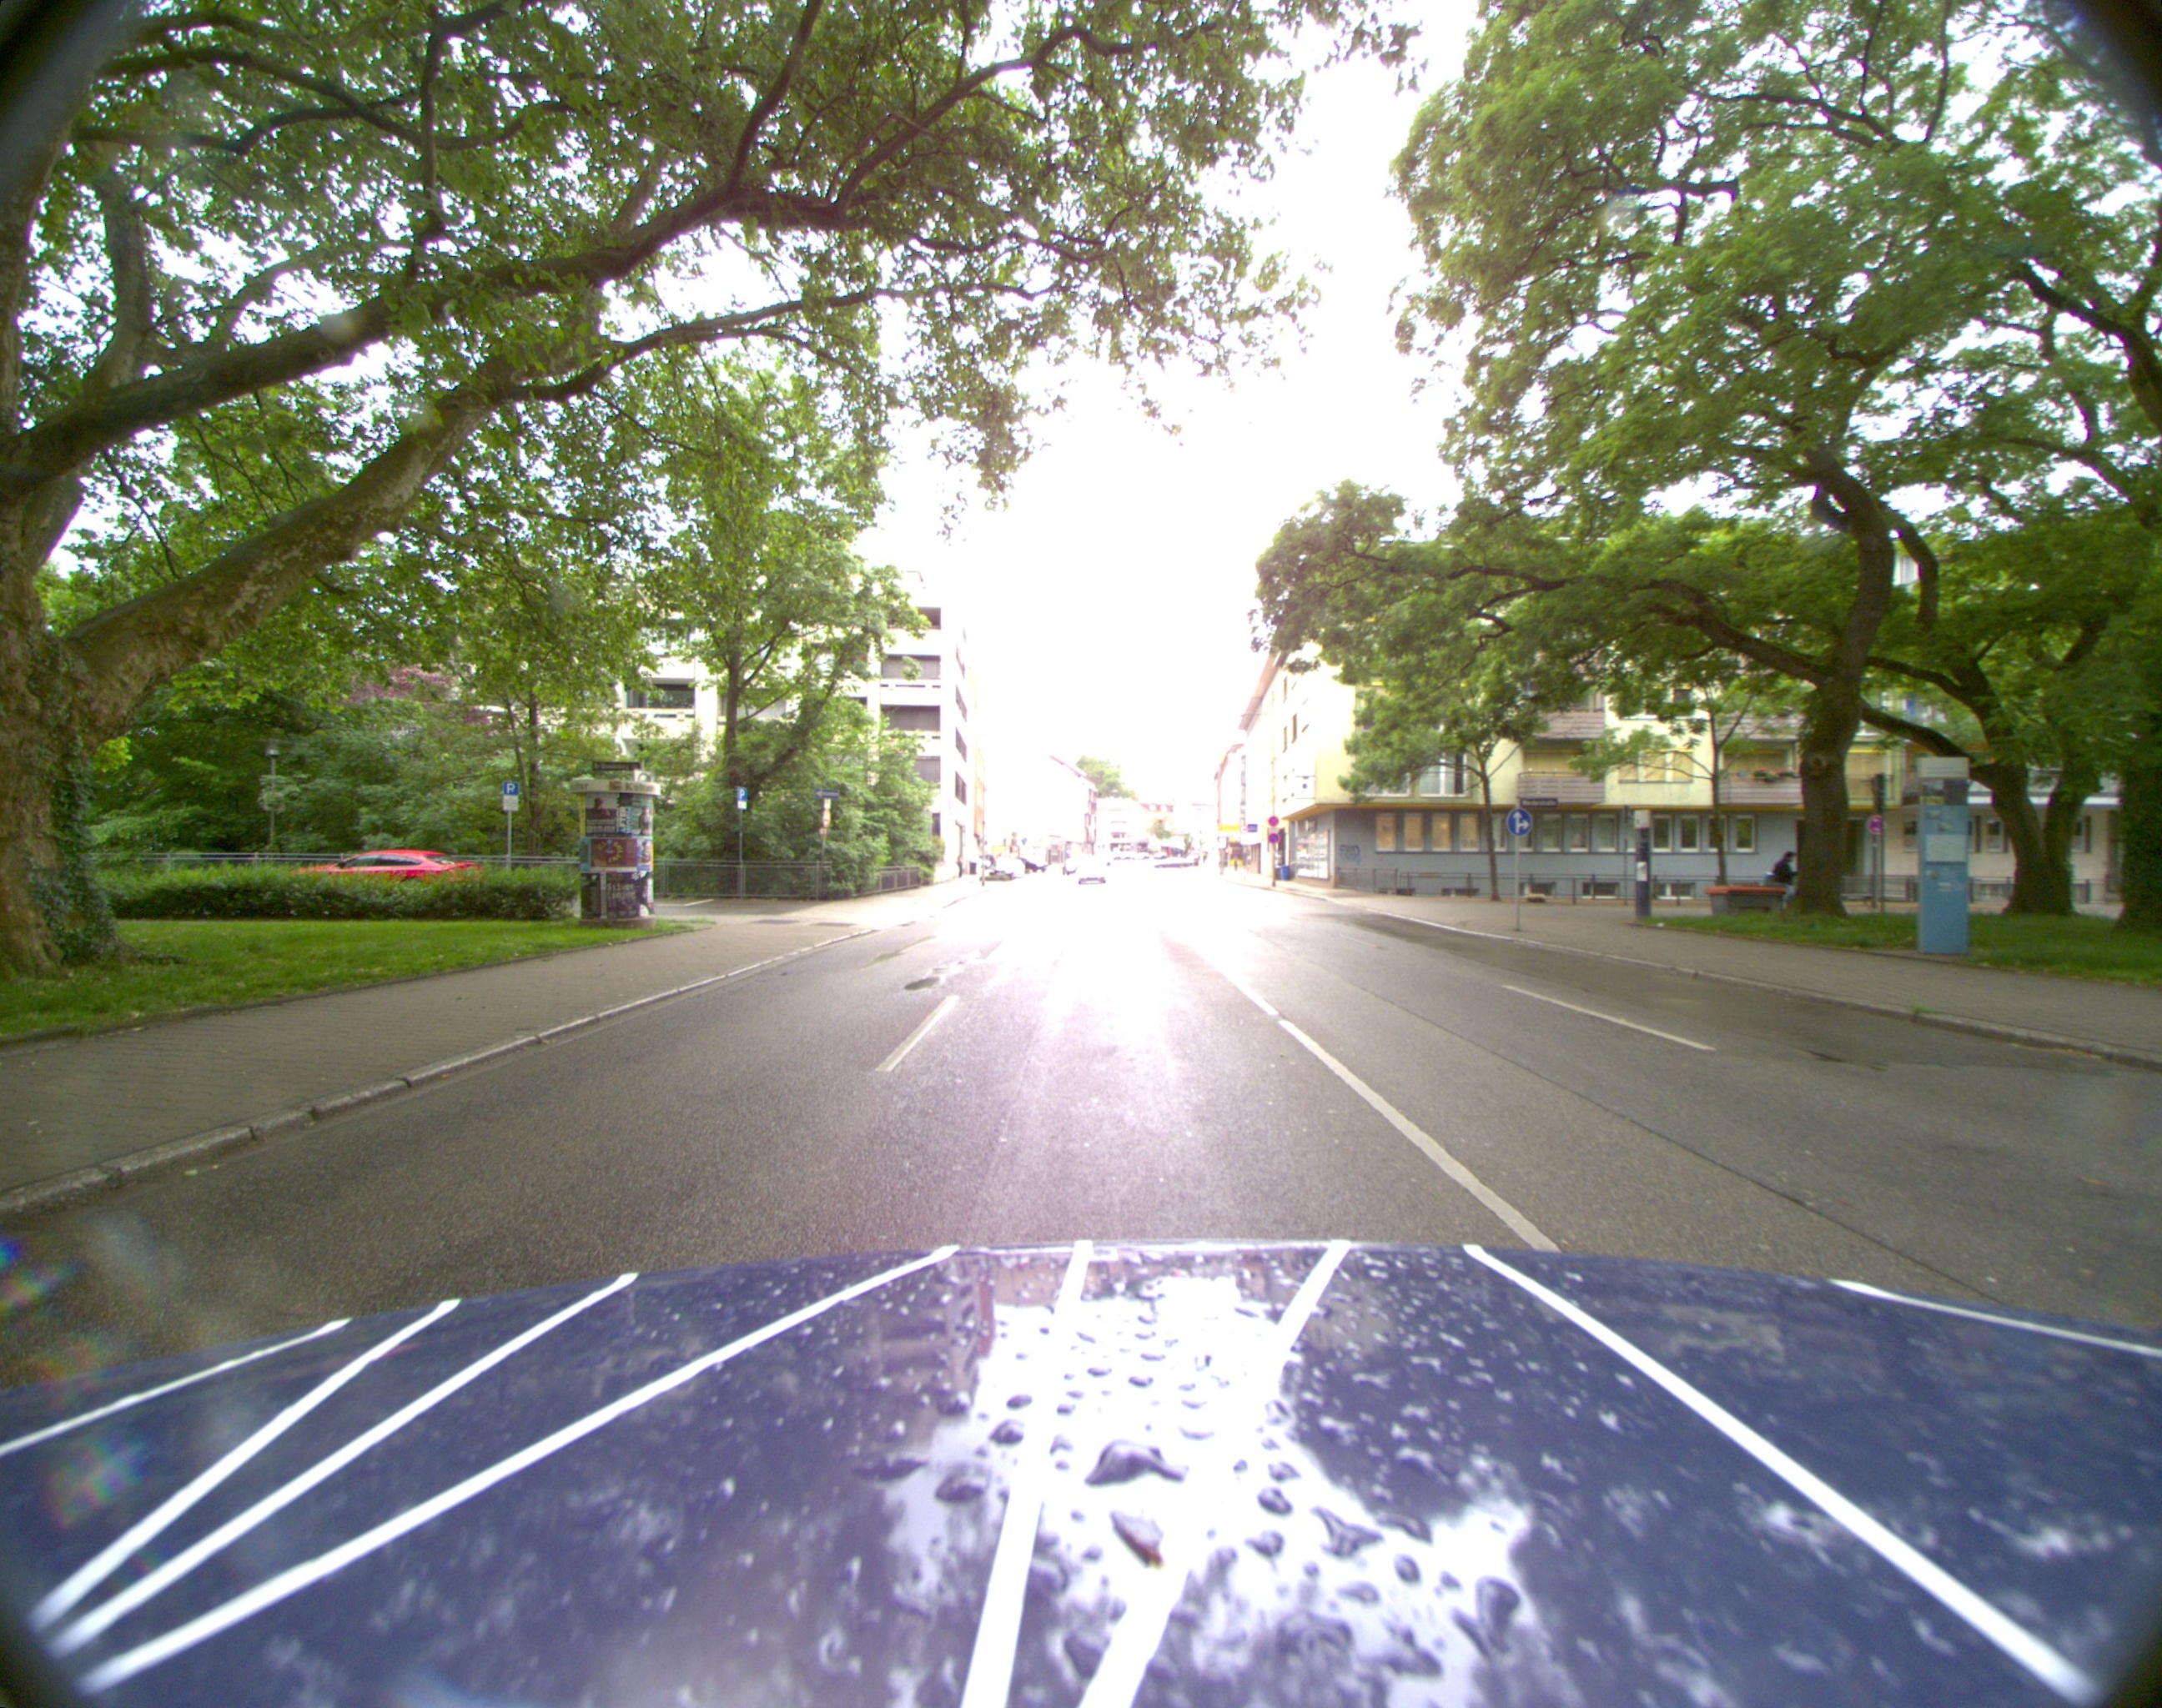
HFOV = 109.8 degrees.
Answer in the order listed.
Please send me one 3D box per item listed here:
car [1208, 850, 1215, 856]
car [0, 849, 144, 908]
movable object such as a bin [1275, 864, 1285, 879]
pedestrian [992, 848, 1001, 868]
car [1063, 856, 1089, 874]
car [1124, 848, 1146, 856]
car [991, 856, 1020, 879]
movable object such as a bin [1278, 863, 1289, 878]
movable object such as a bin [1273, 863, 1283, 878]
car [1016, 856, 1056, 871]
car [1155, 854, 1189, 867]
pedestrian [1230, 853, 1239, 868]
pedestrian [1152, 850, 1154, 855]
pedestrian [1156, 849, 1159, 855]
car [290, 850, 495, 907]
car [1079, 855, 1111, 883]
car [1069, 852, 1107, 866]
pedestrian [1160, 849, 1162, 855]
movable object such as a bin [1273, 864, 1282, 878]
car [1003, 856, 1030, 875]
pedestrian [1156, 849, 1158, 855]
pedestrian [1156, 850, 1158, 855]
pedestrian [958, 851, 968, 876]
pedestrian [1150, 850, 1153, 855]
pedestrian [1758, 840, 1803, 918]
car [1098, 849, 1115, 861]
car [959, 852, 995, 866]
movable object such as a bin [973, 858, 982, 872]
[{"bbox_3d":[33.265,-0.325,193.397,1.591,1.518,3.491,0,0,14],"label":"car"},{"bbox_3d":[-29.537,0.671,21.411,3.932,1.561,1.735,1,0,-4],"label":"car"},{"bbox_3d":[12.762,1.108,48.807,0.529,0.890,0.435,-4,0,8],"label":"movable object such as a bin"},{"bbox_3d":[-9.268,0.464,83.087,0.806,2.140,0.737,0,1,-23],"label":"pedestrian"},{"bbox_3d":[-0.512,0.975,69.196,1.758,1.559,3.997,-2,0,-9],"label":"car"},{"bbox_3d":[11.961,-0.389,168.071,4.556,1.754,2.050,1,0,39],"label":"car"},{"bbox_3d":[-5.316,0.929,53.519,1.706,1.549,3.804,1,0,-1],"label":"car"},{"bbox_3d":[12.859,1.053,48.292,0.529,0.955,0.435,-4,0,8],"label":"movable object such as a bin"},{"bbox_3d":[12.794,1.091,49.290,0.529,0.922,0.426,-4,0,8],"label":"movable object such as a bin"},{"bbox_3d":[-4.987,1.013,83.763,4.148,1.576,1.805,1,0,33],"label":"car"},{"bbox_3d":[11.606,0.776,96.802,4.196,1.596,1.481,1,0,1],"label":"car"},{"bbox_3d":[16.735,0.692,82.866,0.785,1.578,0.674,-2,0,21],"label":"pedestrian"},{"bbox_3d":[17.479,-0.432,184.656,0.379,1.283,0.401,0,1,38],"label":"pedestrian"},{"bbox_3d":[18.048,-0.424,178.945,0.379,1.283,0.401,1,1,40],"label":"pedestrian"},{"bbox_3d":[-19.558,0.676,21.760,3.999,1.473,1.875,1,1,-5],"label":"car"},{"bbox_3d":[0.825,0.851,44.747,1.756,1.559,4.000,-2,0,1],"label":"car"},{"bbox_3d":[0.877,0.570,93.718,4.687,1.559,1.758,-2,0,2],"label":"car"},{"bbox_3d":[18.897,-0.439,178.860,0.379,1.283,0.401,1,1,39],"label":"pedestrian"},{"bbox_3d":[12.907,1.109,49.893,0.465,0.922,0.428,-4,0,8],"label":"movable object such as a bin"},{"bbox_3d":[-5.121,0.889,60.483,1.835,1.412,4.569,1,0,-1],"label":"car"},{"bbox_3d":[18.304,-0.451,183.124,0.379,1.283,0.401,0,1,38],"label":"pedestrian"},{"bbox_3d":[17.673,-0.366,176.394,0.399,1.283,0.380,0,1,10],"label":"pedestrian"},{"bbox_3d":[-8.094,0.644,52.198,0.599,1.650,0.691,3,0,-7],"label":"pedestrian"},{"bbox_3d":[16.766,-0.362,180.426,0.379,1.283,0.401,1,1,39],"label":"pedestrian"},{"bbox_3d":[18.440,0.651,20.048,0.780,2.002,0.754,0,1,37],"label":"pedestrian"},{"bbox_3d":[3.937,0.112,117.043,2.016,1.754,4.766,1,0,8],"label":"car"},{"bbox_3d":[-12.816,0.610,93.754,4.157,1.576,1.801,1,0,-1],"label":"car"},{"bbox_3d":[-8.604,0.907,62.881,0.681,1.097,0.514,0,1,-1],"label":"movable object such as a bin"}]
